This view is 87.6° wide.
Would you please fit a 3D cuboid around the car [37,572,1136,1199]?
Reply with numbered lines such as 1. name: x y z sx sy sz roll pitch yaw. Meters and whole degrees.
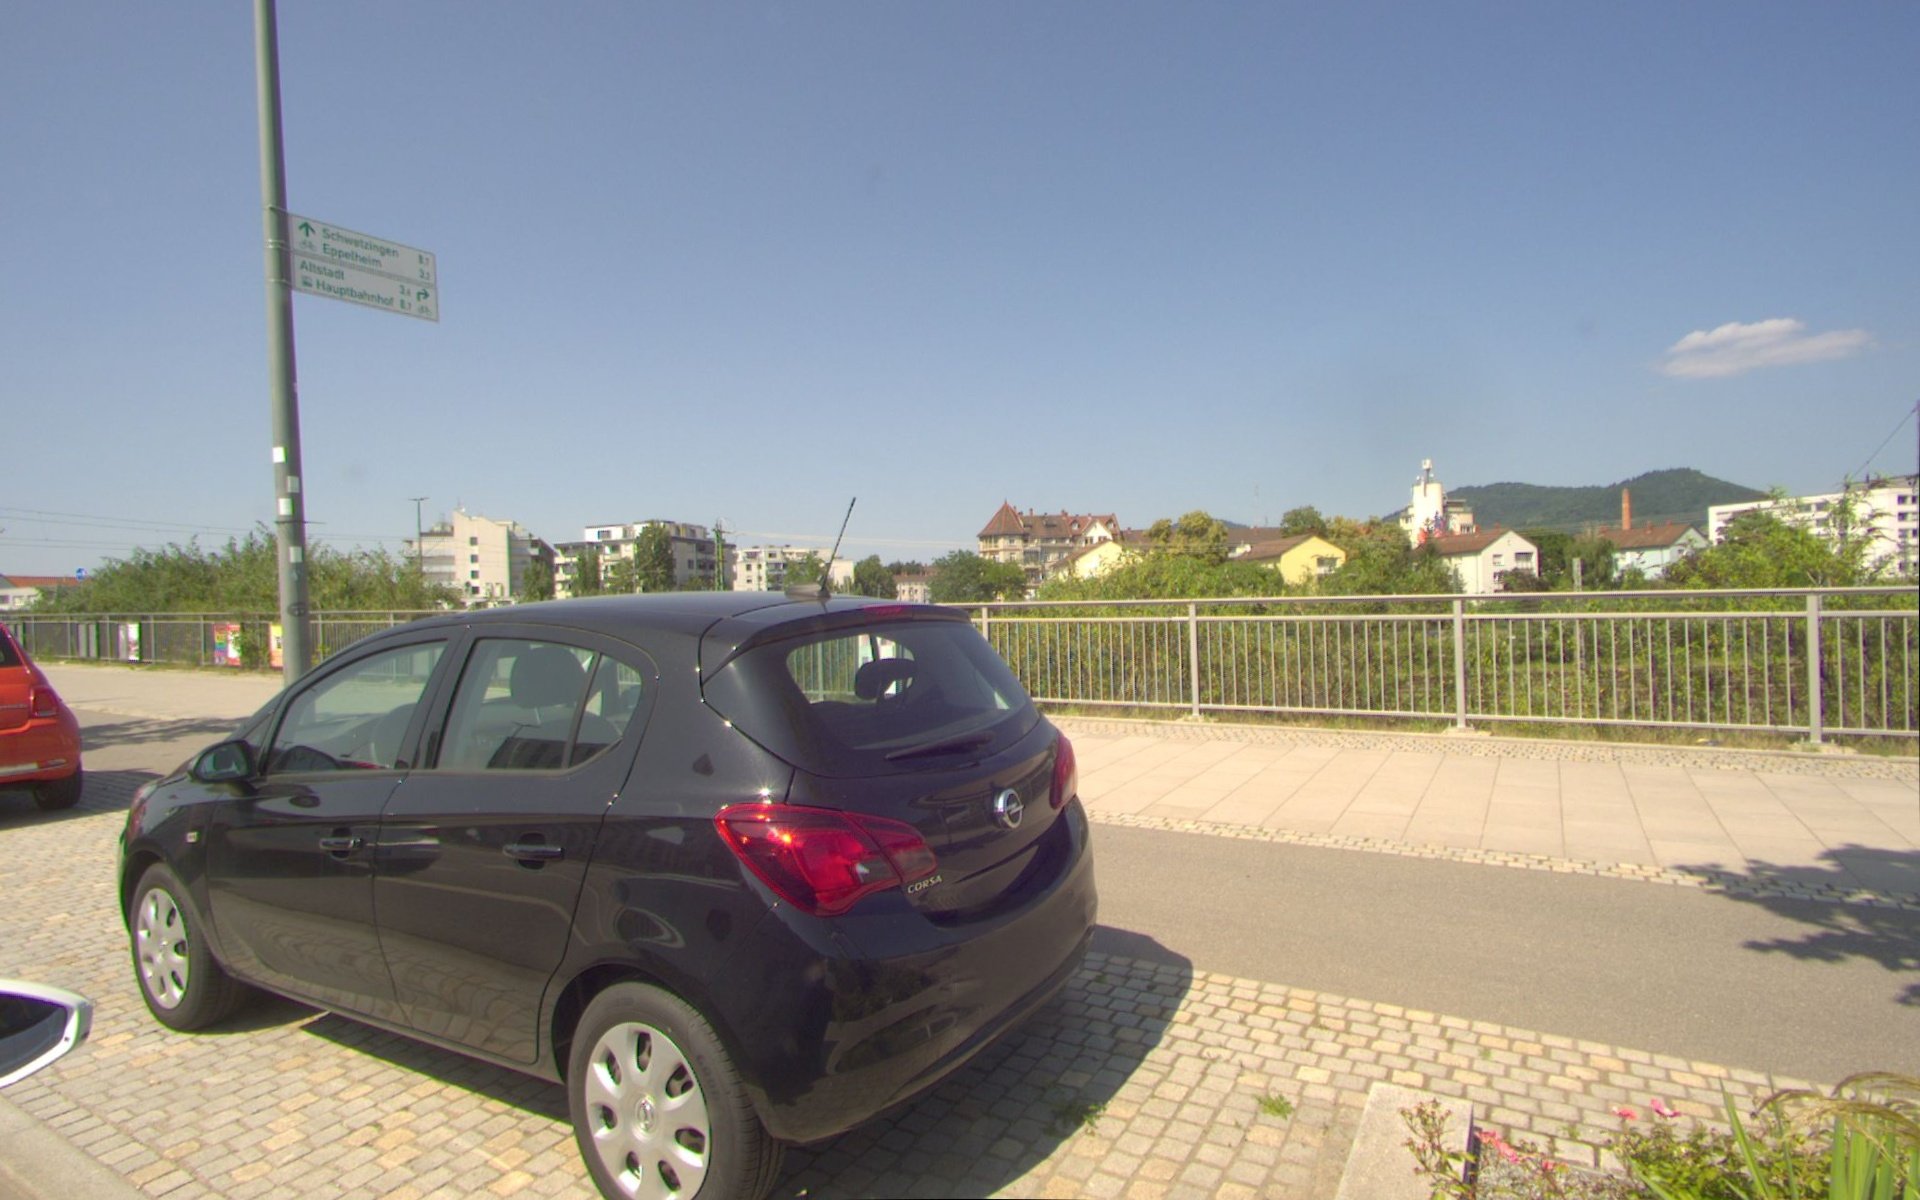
1. car: -1.536 0.697 3.622 3.943 1.445 1.656 -1 1 32

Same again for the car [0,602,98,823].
1. car: -8.159 0.808 7.577 3.305 1.517 1.605 -1 2 34
